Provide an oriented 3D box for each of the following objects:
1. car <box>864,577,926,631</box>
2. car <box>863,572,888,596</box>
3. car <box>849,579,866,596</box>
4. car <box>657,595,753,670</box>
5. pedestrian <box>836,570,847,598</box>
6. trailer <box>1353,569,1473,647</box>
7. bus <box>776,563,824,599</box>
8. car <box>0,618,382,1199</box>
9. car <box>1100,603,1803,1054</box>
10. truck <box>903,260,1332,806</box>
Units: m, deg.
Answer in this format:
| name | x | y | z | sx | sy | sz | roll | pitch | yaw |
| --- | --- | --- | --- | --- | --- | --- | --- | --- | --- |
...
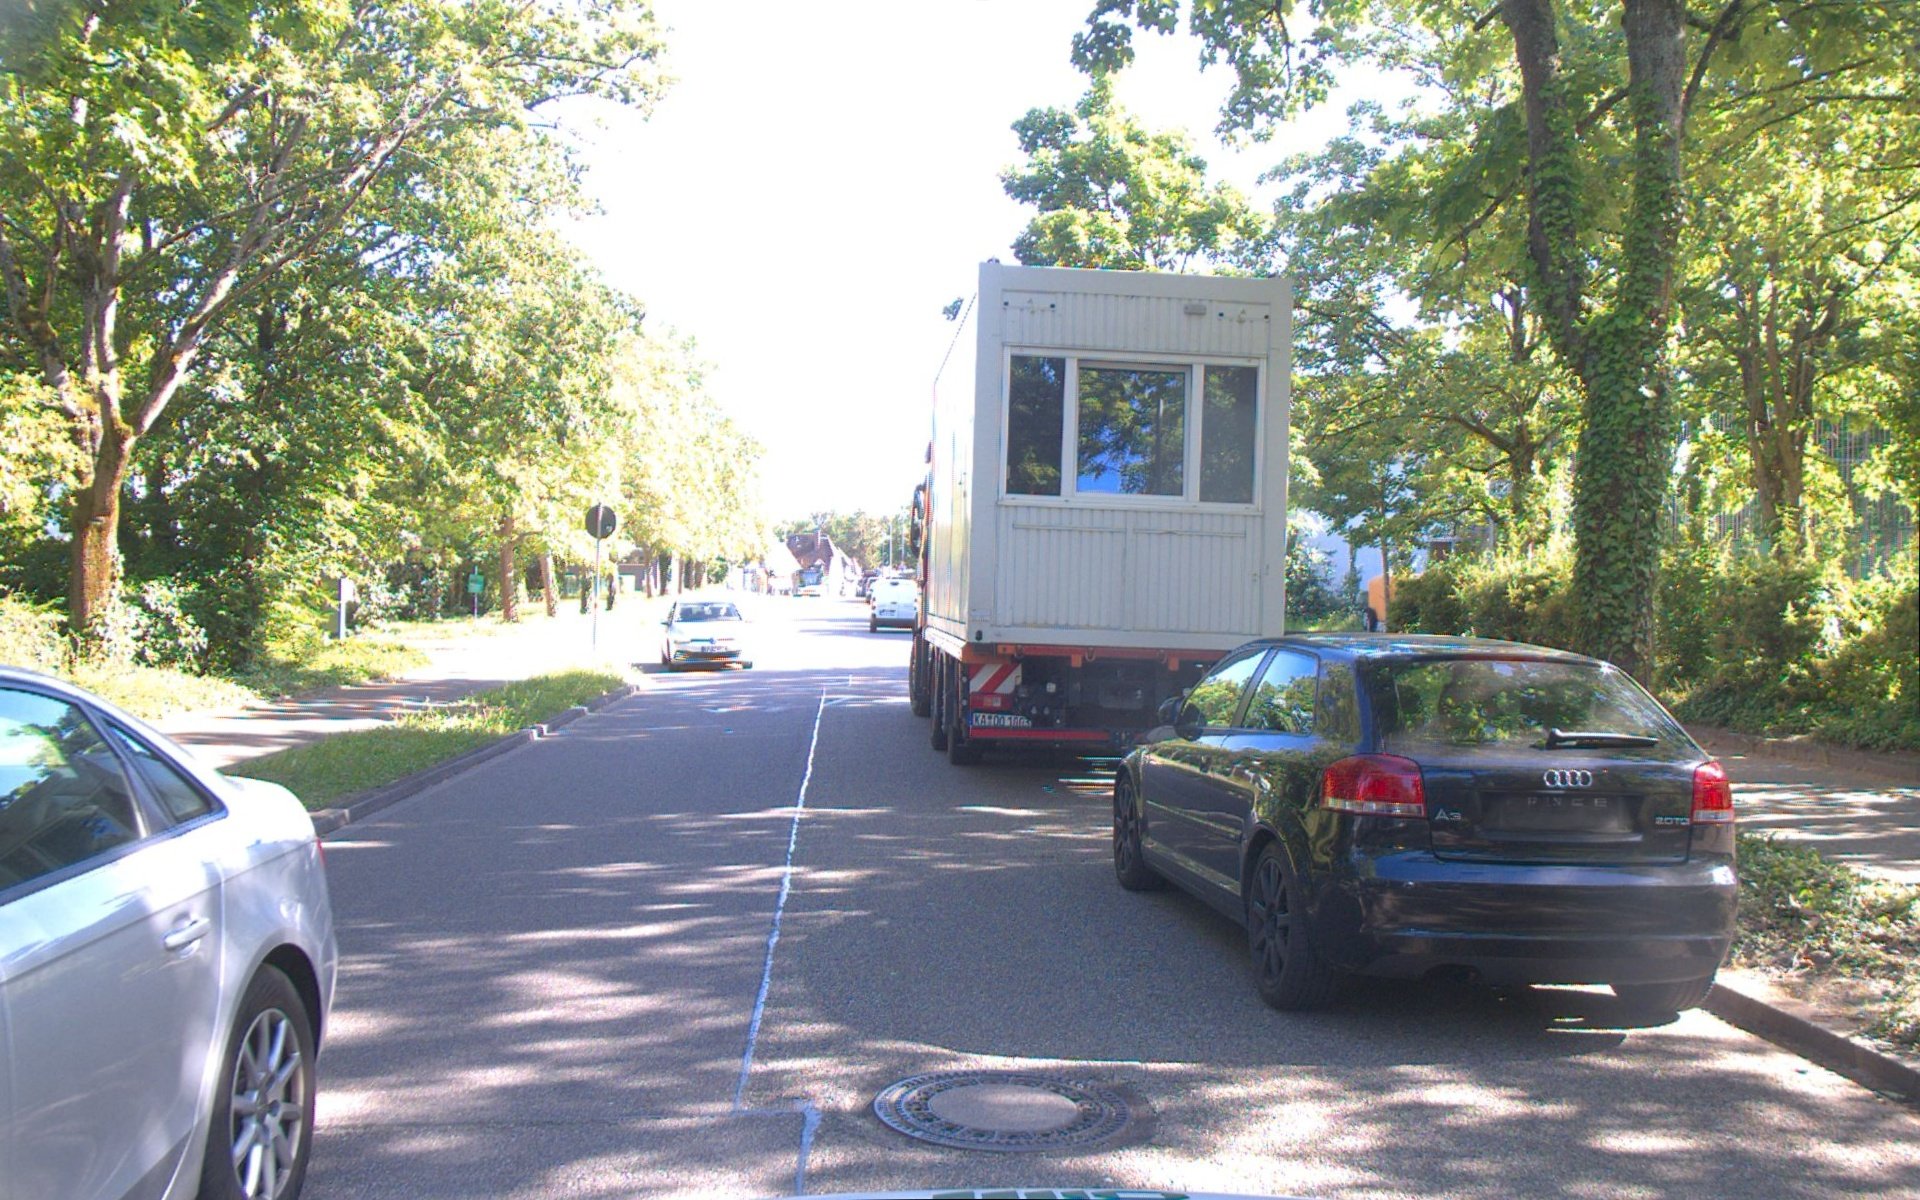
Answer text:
| name | x | y | z | sx | sy | sz | roll | pitch | yaw |
| --- | --- | --- | --- | --- | --- | --- | --- | --- | --- |
| car | -2.375 | 0.119 | 59.566 | 1.910 | 1.875 | 3.994 | 1 | 0 | -7 |
| car | -6.584 | -1.248 | 128.451 | 1.746 | 1.840 | 3.996 | 0 | 0 | -5 |
| car | -11.229 | -1.403 | 181.018 | 1.746 | 1.840 | 3.996 | 0 | 0 | -5 |
| car | -5.463 | 0.646 | 35.112 | 1.774 | 1.445 | 3.947 | -1 | 0 | -12 |
| pedestrian | -9.281 | -1.239 | 129.293 | 0.737 | 2.150 | 0.799 | 2 | 0 | -1 |
| trailer | 12.786 | 0.213 | 46.769 | 2.886 | 2.153 | 1.608 | 0 | 0 | -6 |
| bus | -15.784 | -1.870 | 163.883 | 3.983 | 3.407 | 9.797 | -1 | 1 | -2 |
| car | -2.322 | 0.810 | 2.282 | 1.751 | 1.441 | 4.102 | -1 | 1 | -3 |
| car | 1.851 | 0.778 | 7.567 | 1.609 | 1.445 | 3.994 | 1 | 0 | -7 |
| truck | 1.036 | -0.540 | 17.749 | 2.719 | 4.065 | 10.338 | 2 | 0 | -5 |
